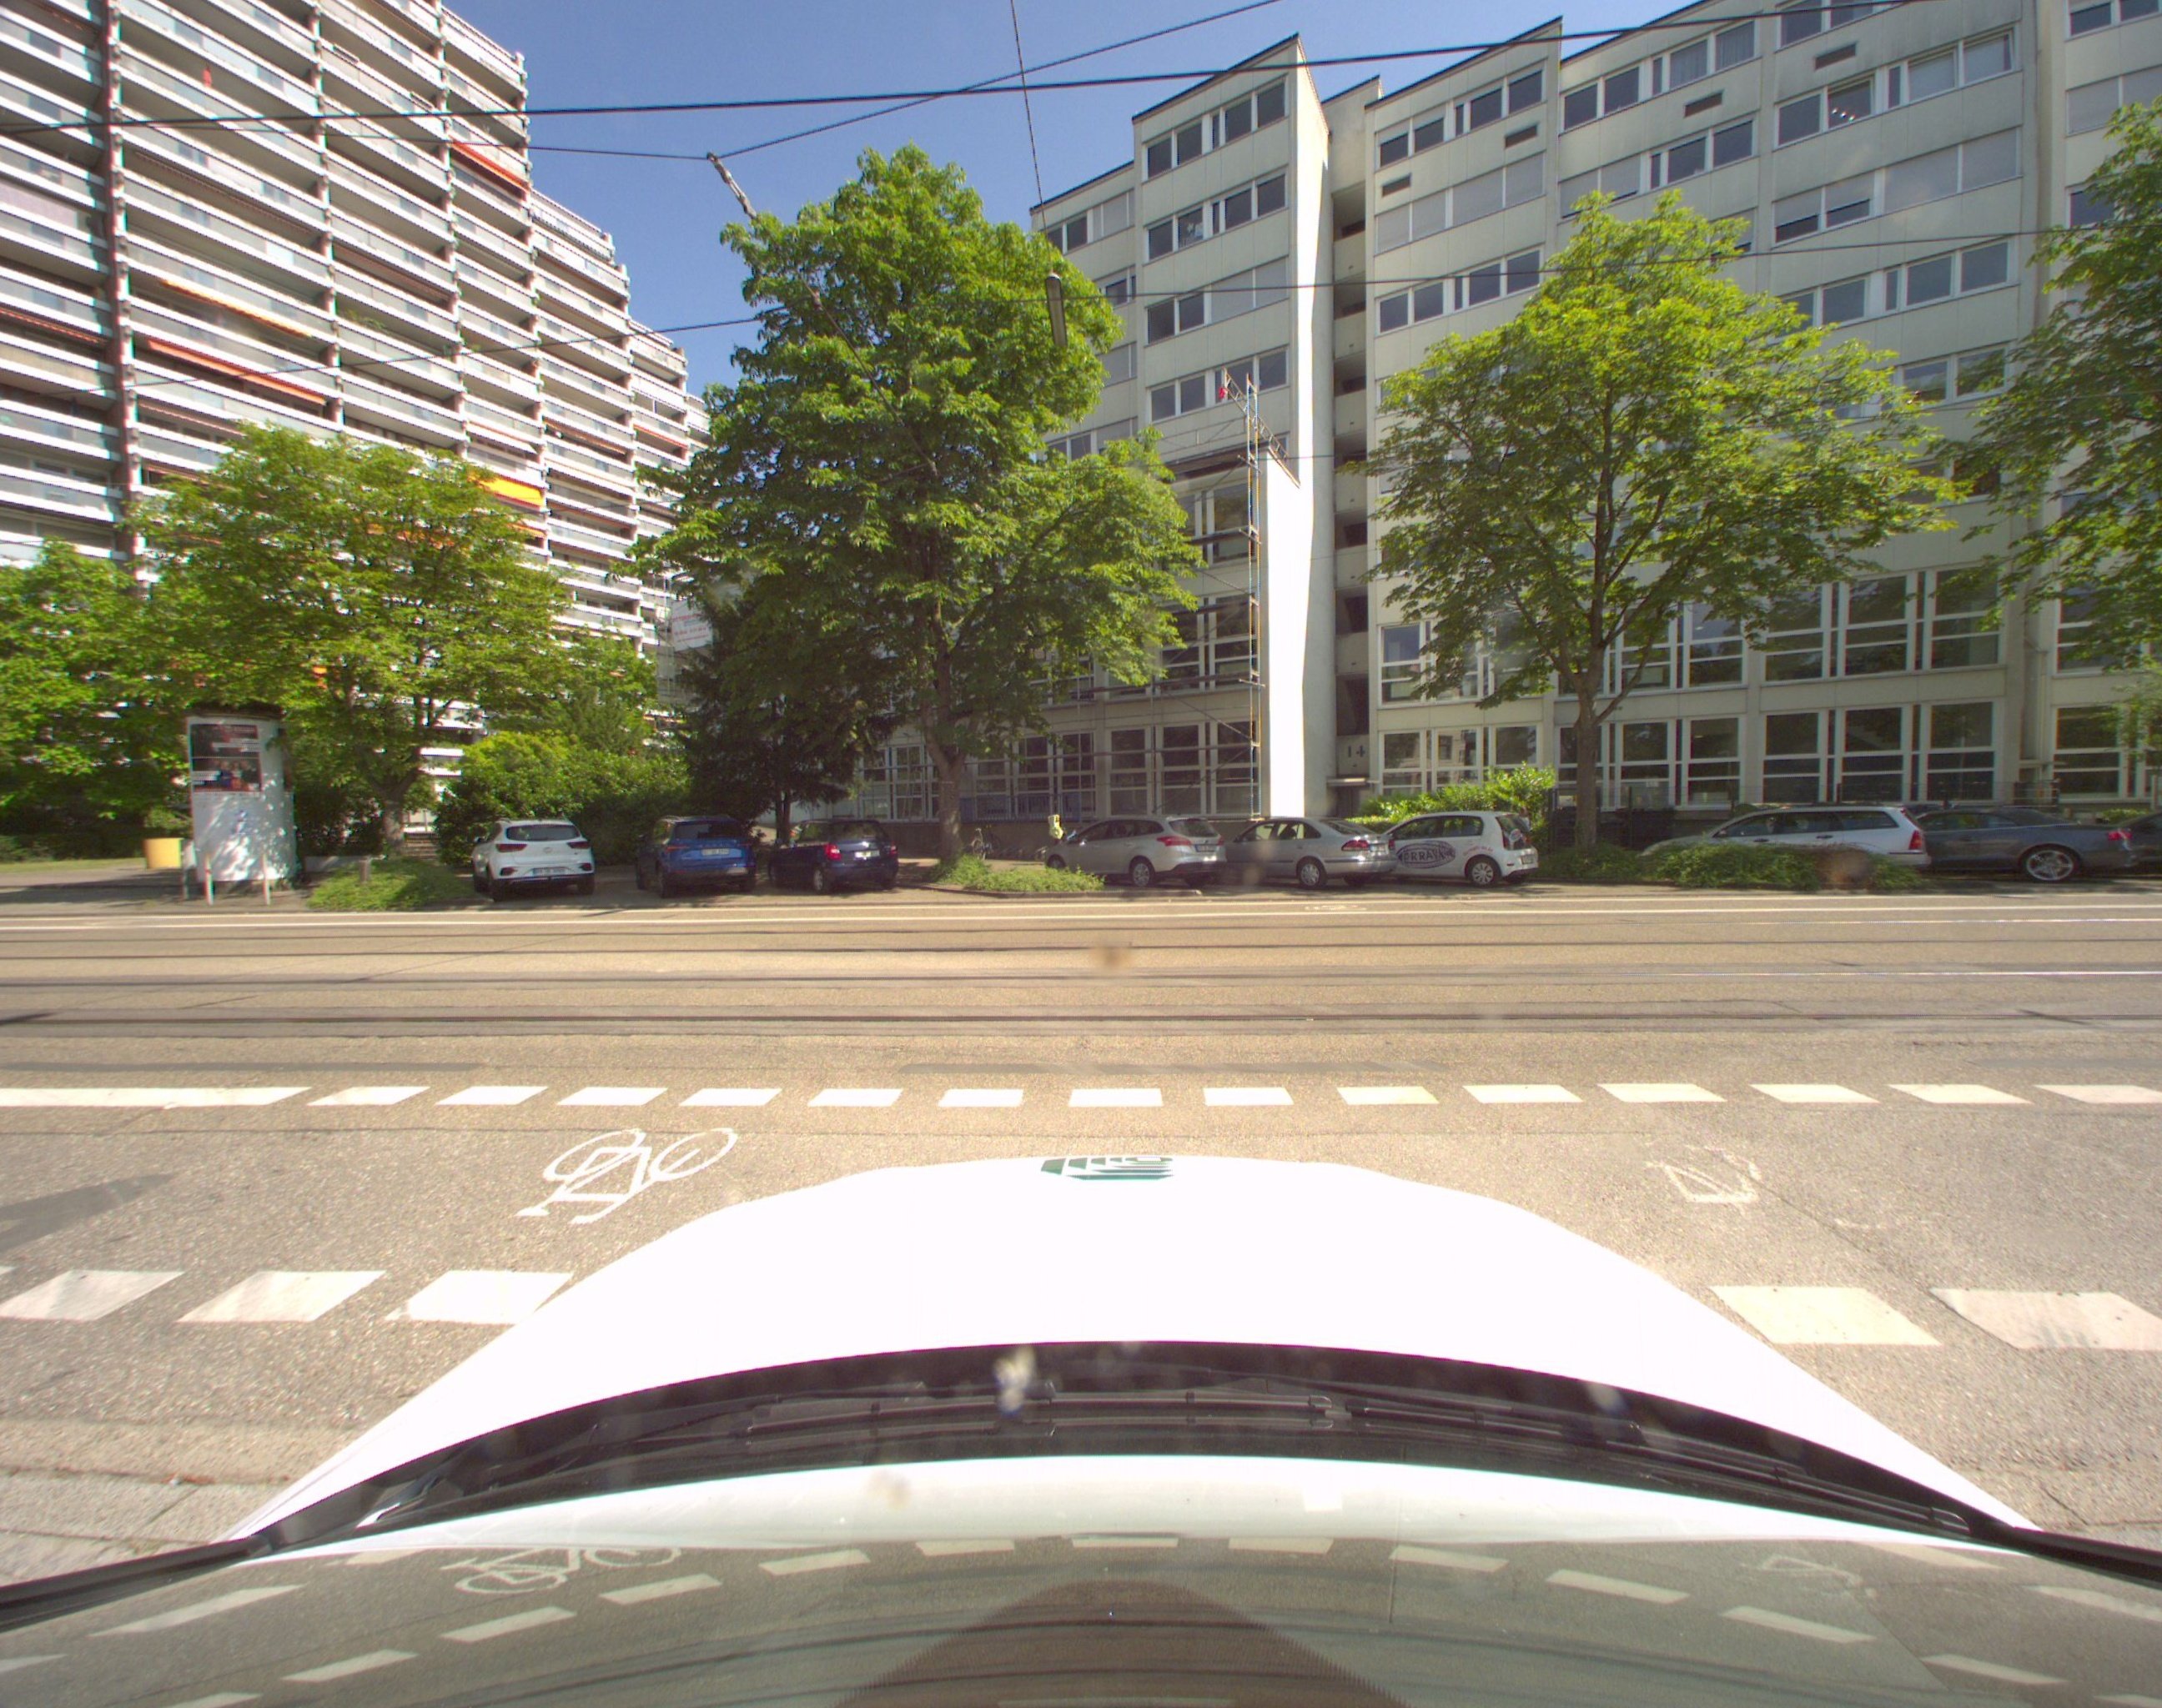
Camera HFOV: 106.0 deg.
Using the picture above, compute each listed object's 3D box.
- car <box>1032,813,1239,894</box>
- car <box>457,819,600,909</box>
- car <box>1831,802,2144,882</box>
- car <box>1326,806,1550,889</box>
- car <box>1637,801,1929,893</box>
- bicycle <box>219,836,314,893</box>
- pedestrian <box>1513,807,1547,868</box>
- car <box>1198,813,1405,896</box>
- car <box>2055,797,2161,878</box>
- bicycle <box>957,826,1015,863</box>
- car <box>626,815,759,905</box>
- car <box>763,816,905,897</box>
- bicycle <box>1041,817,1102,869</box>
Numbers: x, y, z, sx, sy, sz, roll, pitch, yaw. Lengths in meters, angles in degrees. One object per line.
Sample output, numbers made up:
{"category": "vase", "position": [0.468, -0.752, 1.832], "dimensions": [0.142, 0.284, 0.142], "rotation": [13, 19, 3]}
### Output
{"category": "car", "position": [1.030, -0.079, 17.239], "dimensions": [1.794, 1.485, 4.383], "rotation": [-3, 3, -41]}
{"category": "car", "position": [-11.833, 0.125, 17.335], "dimensions": [1.830, 1.605, 3.897], "rotation": [-6, 5, -43]}
{"category": "car", "position": [17.253, -0.275, 15.747], "dimensions": [1.567, 1.357, 3.899], "rotation": [-3, 3, -41]}
{"category": "car", "position": [7.228, -0.153, 16.784], "dimensions": [1.621, 1.486, 3.899], "rotation": [-3, 2, -40]}
{"category": "car", "position": [13.892, -0.168, 16.326], "dimensions": [1.567, 1.604, 4.291], "rotation": [-2, 2, -44]}
{"category": "bicycle", "position": [-19.382, 0.235, 19.406], "dimensions": [1.611, 1.308, 0.546], "rotation": [-1, 2, -2]}
{"category": "pedestrian", "position": [11.021, -0.408, 20.006], "dimensions": [0.617, 1.460, 0.424], "rotation": [-1, 2, 1]}
{"category": "car", "position": [4.411, -0.062, 16.731], "dimensions": [1.621, 1.485, 3.900], "rotation": [-3, 3, -39]}
{"category": "car", "position": [20.919, -0.318, 14.914], "dimensions": [1.567, 1.485, 3.899], "rotation": [-3, 3, -41]}
{"category": "bicycle", "position": [-2.879, -0.313, 24.972], "dimensions": [0.734, 1.085, 2.216], "rotation": [0, 2, 23]}
{"category": "car", "position": [-8.373, 0.011, 17.369], "dimensions": [1.789, 1.622, 3.902], "rotation": [-4, 5, -37]}
{"category": "car", "position": [-5.281, -0.006, 17.209], "dimensions": [1.585, 1.530, 3.417], "rotation": [-3, 3, -41]}
{"category": "bicycle", "position": [-0.241, -0.350, 23.870], "dimensions": [0.655, 1.453, 2.104], "rotation": [0, 3, 35]}
